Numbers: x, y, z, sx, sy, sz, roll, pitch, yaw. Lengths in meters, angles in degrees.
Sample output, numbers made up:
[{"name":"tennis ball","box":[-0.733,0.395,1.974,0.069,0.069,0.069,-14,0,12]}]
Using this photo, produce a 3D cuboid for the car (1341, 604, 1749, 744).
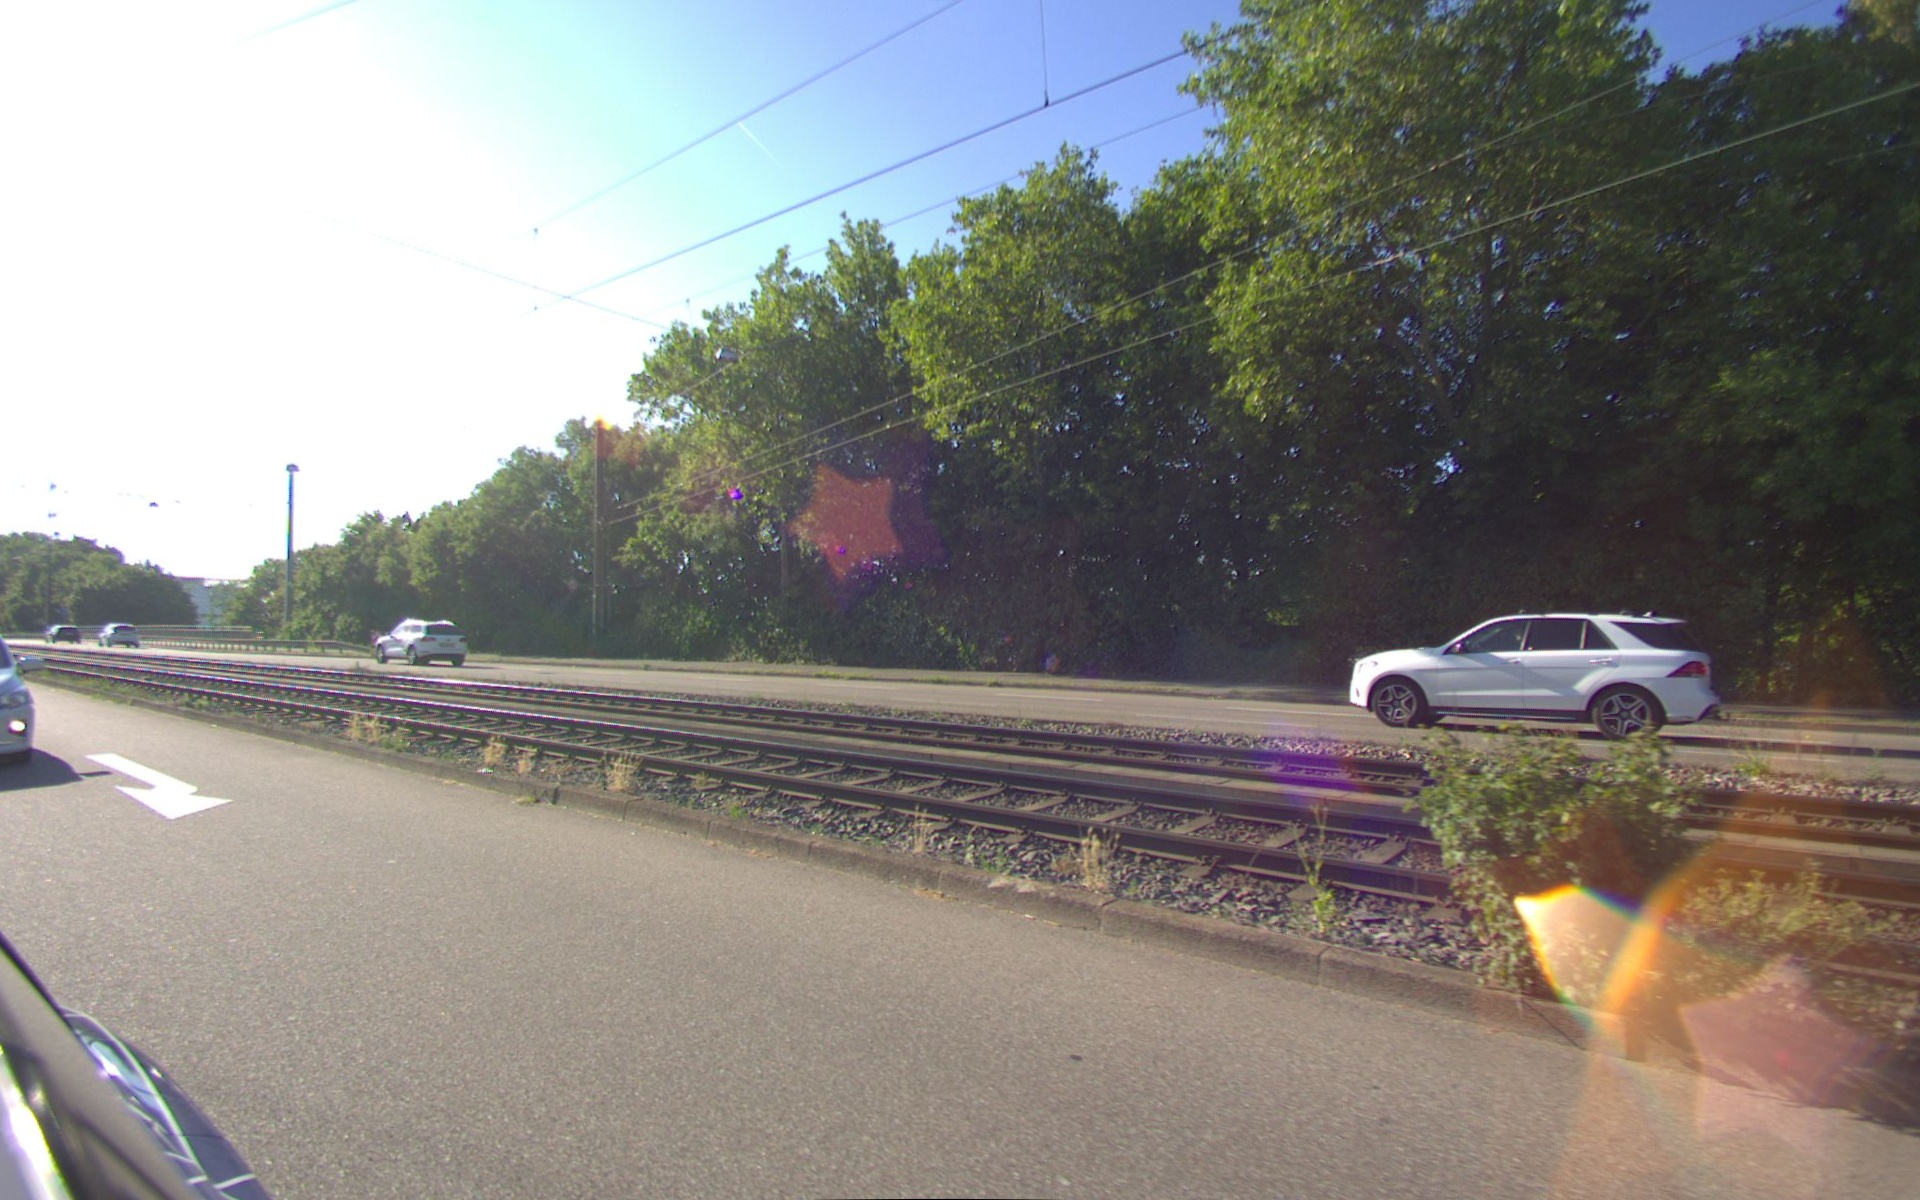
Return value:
[{"name":"car","box":[8.383,0.997,14.805,4.937,1.720,1.944,-1,-4,38]}]

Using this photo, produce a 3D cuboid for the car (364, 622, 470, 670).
[{"name":"car","box":[-21.407,1.797,39.832,4.925,1.747,1.828,-1,-4,38]}]

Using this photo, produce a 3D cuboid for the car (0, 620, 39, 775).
[{"name":"car","box":[-11.280,0.989,10.826,3.860,1.523,1.687,-1,-1,41]}]

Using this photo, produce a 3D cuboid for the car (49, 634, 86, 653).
[{"name":"car","box":[-73.234,3.557,83.032,4.499,1.443,1.640,-1,-4,41]}]

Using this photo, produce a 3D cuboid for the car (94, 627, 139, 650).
[{"name":"car","box":[-59.622,2.721,71.524,4.187,1.568,1.674,-1,-4,40]}]
